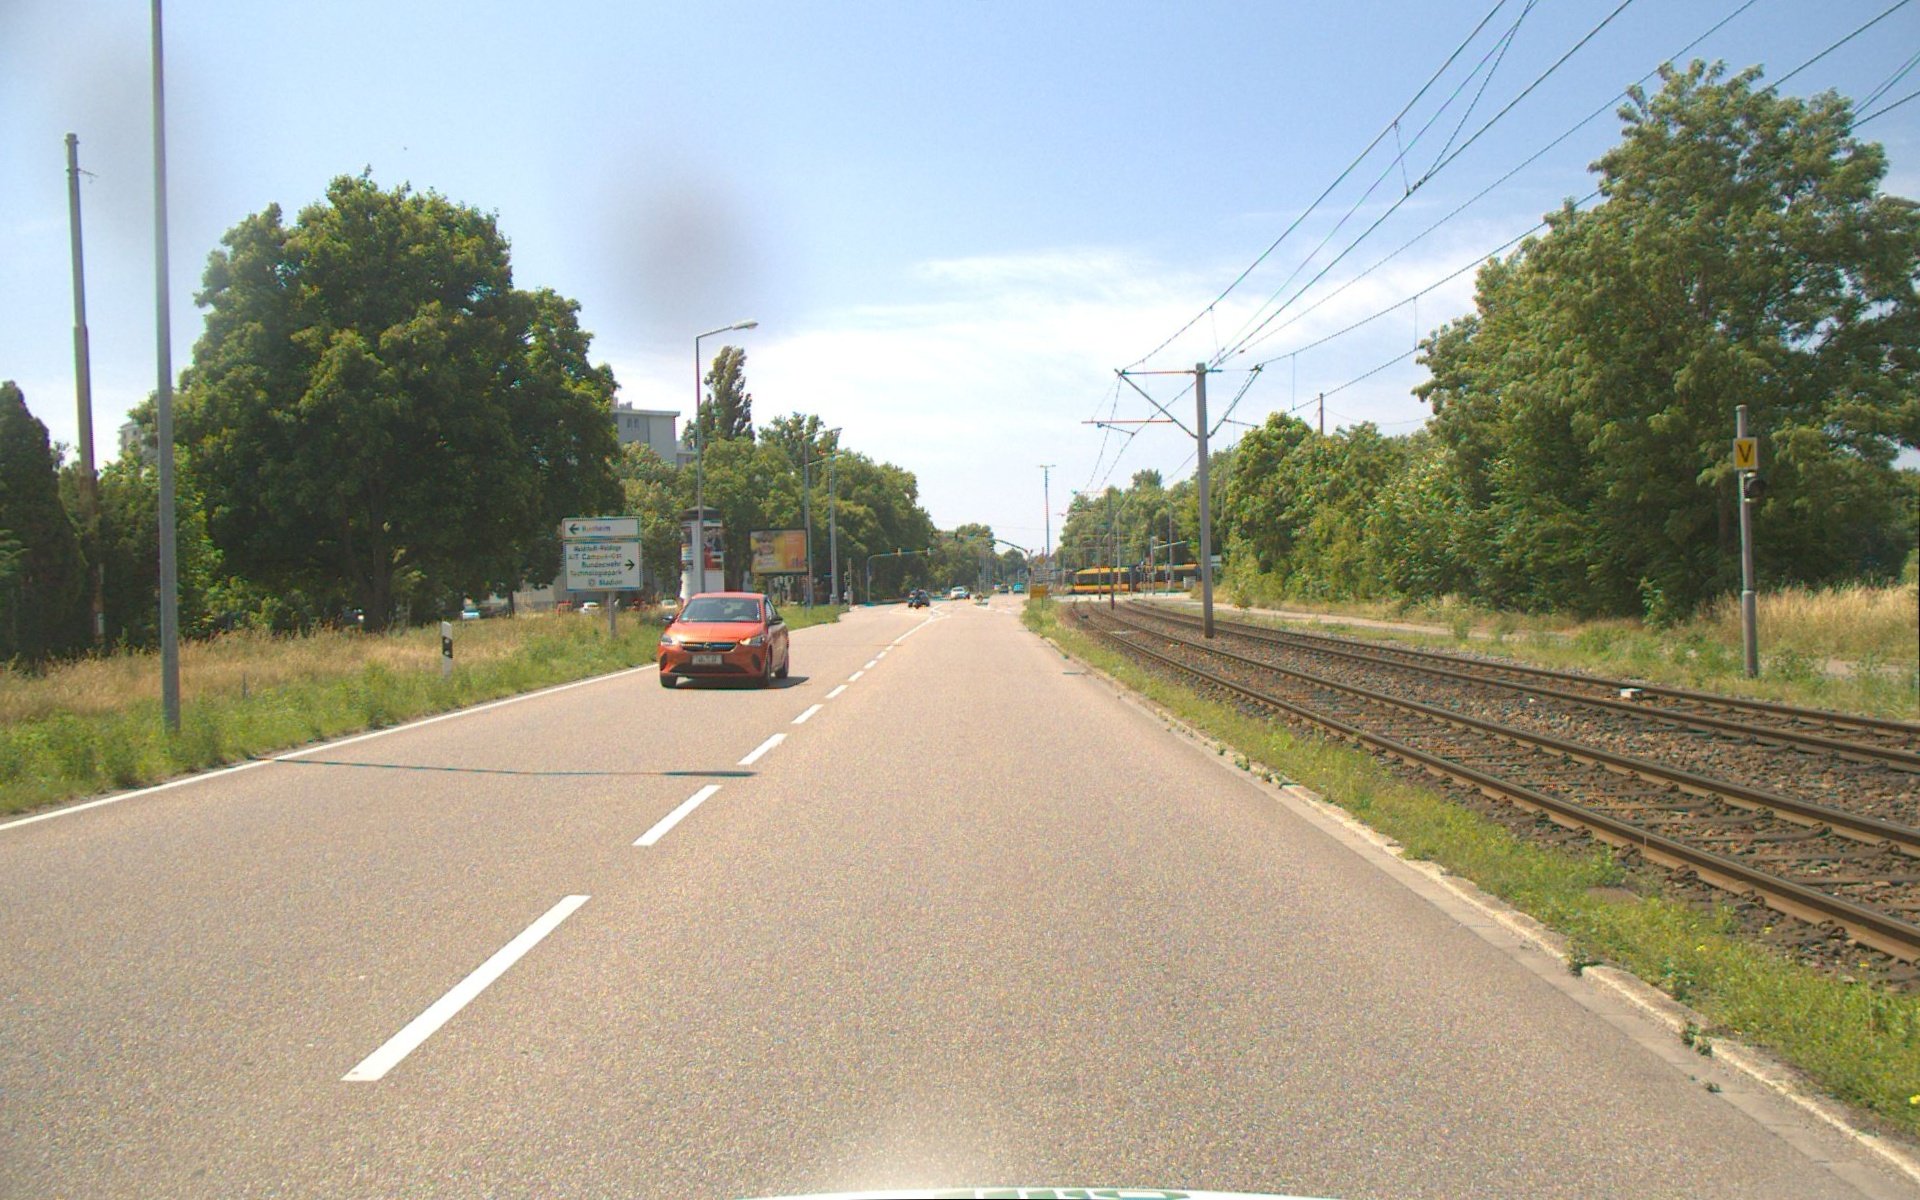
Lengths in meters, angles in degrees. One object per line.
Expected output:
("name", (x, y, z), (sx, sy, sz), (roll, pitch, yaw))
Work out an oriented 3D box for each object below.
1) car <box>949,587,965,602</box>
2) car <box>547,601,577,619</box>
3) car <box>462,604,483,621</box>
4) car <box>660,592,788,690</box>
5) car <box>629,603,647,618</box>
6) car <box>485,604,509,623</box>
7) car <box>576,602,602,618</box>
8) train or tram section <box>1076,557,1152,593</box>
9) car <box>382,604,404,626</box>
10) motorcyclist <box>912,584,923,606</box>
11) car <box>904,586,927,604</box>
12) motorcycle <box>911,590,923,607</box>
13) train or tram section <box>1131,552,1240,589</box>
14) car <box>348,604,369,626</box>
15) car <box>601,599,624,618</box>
("car", (-0.372, -0.657, 198.665), (1.747, 1.657, 3.866), (-2, 0, 2))
("car", (-39.142, 1.020, 162.657), (1.826, 1.697, 3.962), (-2, 0, -28))
("car", (-47.052, 1.188, 159.678), (1.663, 1.589, 3.815), (-2, 0, -20))
("car", (-3.715, 0.597, 26.585), (1.645, 1.423, 3.998), (-1, 1, -3))
("car", (-32.167, 1.042, 165.110), (1.590, 1.489, 3.985), (-1, 0, -14))
("car", (-45.060, 1.317, 160.938), (1.819, 1.741, 3.976), (-1, 1, -21))
("car", (-36.715, 0.981, 163.643), (1.683, 1.620, 3.968), (-1, 0, -25))
("train or tram section", (20.310, -3.254, 219.870), (2.881, 3.988, 13.908), (1, -3, -28))
("car", (-53.588, 1.390, 156.252), (1.819, 1.982, 3.975), (-1, 0, -21))
("motorcyclist", (-3.276, -0.406, 126.568), (0.774, 1.671, 1.211), (-1, 0, 0))
("car", (-3.824, -0.467, 141.928), (1.867, 1.525, 4.630), (-1, 0, 0))
("motorcycle", (-3.281, -0.122, 126.390), (0.829, 1.277, 2.449), (-1, 0, 0))
("train or tram section", (28.759, -3.743, 211.467), (13.649, 3.988, 2.920), (-2, -3, 28))
("car", (-56.611, 1.428, 155.570), (1.819, 1.982, 3.975), (-1, 0, -21))
("car", (-34.575, 0.800, 164.487), (1.680, 1.832, 3.975), (-1, 0, -21))
